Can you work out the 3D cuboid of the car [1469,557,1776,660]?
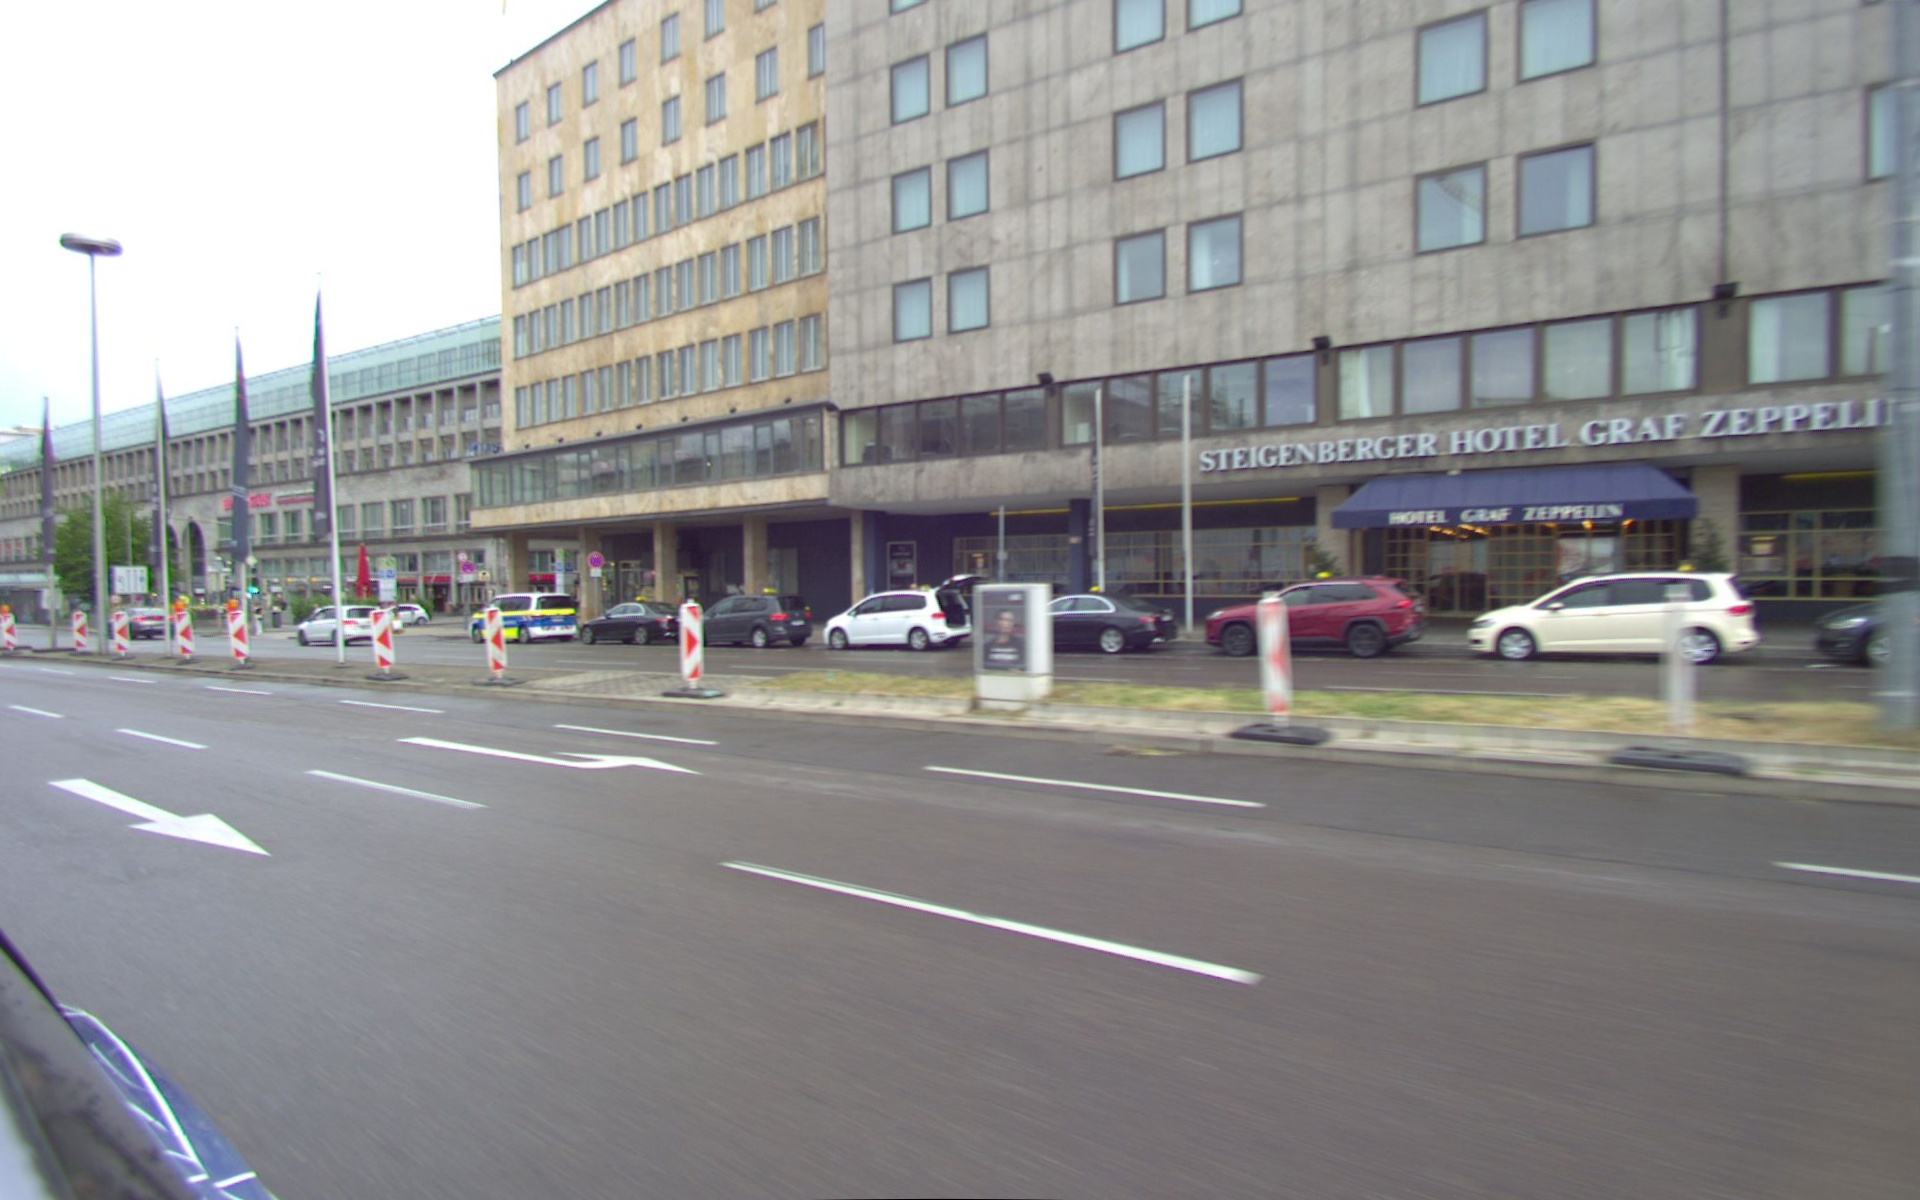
[{"bbox_3d":[12.140,0.160,18.849,4.565,1.711,1.801,-1,0,34],"label":"car"}]

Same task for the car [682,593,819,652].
[{"bbox_3d":[-6.532,0.689,31.381,4.218,1.694,1.739,-2,0,35],"label":"car"}]

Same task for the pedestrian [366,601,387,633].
[{"bbox_3d":[-29.554,0.837,51.264,0.674,1.604,0.663,-1,0,13],"label":"pedestrian"}]

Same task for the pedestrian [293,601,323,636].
[{"bbox_3d":[-31.792,0.882,49.345,0.784,1.630,0.833,-1,3,23],"label":"pedestrian"}]

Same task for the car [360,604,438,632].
[{"bbox_3d":[-36.514,1.156,65.974,1.804,1.652,4.041,-1,0,38],"label":"car"}]

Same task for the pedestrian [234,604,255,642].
[{"bbox_3d":[-37.645,1.198,53.266,0.705,1.939,0.593,-1,0,-15],"label":"pedestrian"}]

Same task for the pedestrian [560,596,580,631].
[{"bbox_3d":[-21.510,0.745,55.786,0.771,1.889,0.708,-1,0,39],"label":"pedestrian"}]

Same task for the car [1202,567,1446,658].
[{"bbox_3d":[7.832,0.264,21.948,4.637,1.781,1.885,-1,0,36],"label":"car"}]

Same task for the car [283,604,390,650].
[{"bbox_3d":[-24.423,1.033,39.592,4.487,1.681,1.809,-1,0,33],"label":"car"}]

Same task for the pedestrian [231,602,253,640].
[{"bbox_3d":[-38.343,1.125,54.016,0.805,2.029,0.697,-1,0,34],"label":"pedestrian"}]

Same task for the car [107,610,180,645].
[{"bbox_3d":[-41.758,1.407,51.754,4.490,1.682,1.759,-1,-1,35],"label":"car"}]

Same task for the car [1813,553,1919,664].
[{"bbox_3d":[16.513,0.105,15.958,4.505,1.741,1.800,-1,0,36],"label":"car"}]

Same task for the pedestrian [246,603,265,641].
[{"bbox_3d":[-36.720,1.156,52.749,0.750,1.939,0.585,-1,0,33],"label":"pedestrian"}]

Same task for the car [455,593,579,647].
[{"bbox_3d":[-17.088,0.773,38.967,5.060,1.943,1.885,-2,-1,33],"label":"car"}]

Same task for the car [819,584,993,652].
[{"bbox_3d":[-1.549,0.482,28.092,4.697,1.771,1.740,-1,0,33],"label":"car"}]

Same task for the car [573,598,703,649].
[{"bbox_3d":[-11.046,0.796,34.618,4.551,1.633,1.740,-1,0,33],"label":"car"}]

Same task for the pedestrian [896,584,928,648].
[{"bbox_3d":[-1.398,0.458,29.379,0.656,1.794,0.616,0,2,34],"label":"pedestrian"}]

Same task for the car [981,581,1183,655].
[{"bbox_3d":[2.974,0.446,25.116,4.604,1.672,1.887,-1,0,34],"label":"car"}]

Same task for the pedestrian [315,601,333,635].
[{"bbox_3d":[-31.675,0.901,50.380,0.524,1.630,0.448,-1,3,22],"label":"pedestrian"}]

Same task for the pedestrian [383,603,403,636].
[{"bbox_3d":[-28.628,0.988,51.117,0.750,1.681,0.559,-1,0,32],"label":"pedestrian"}]
